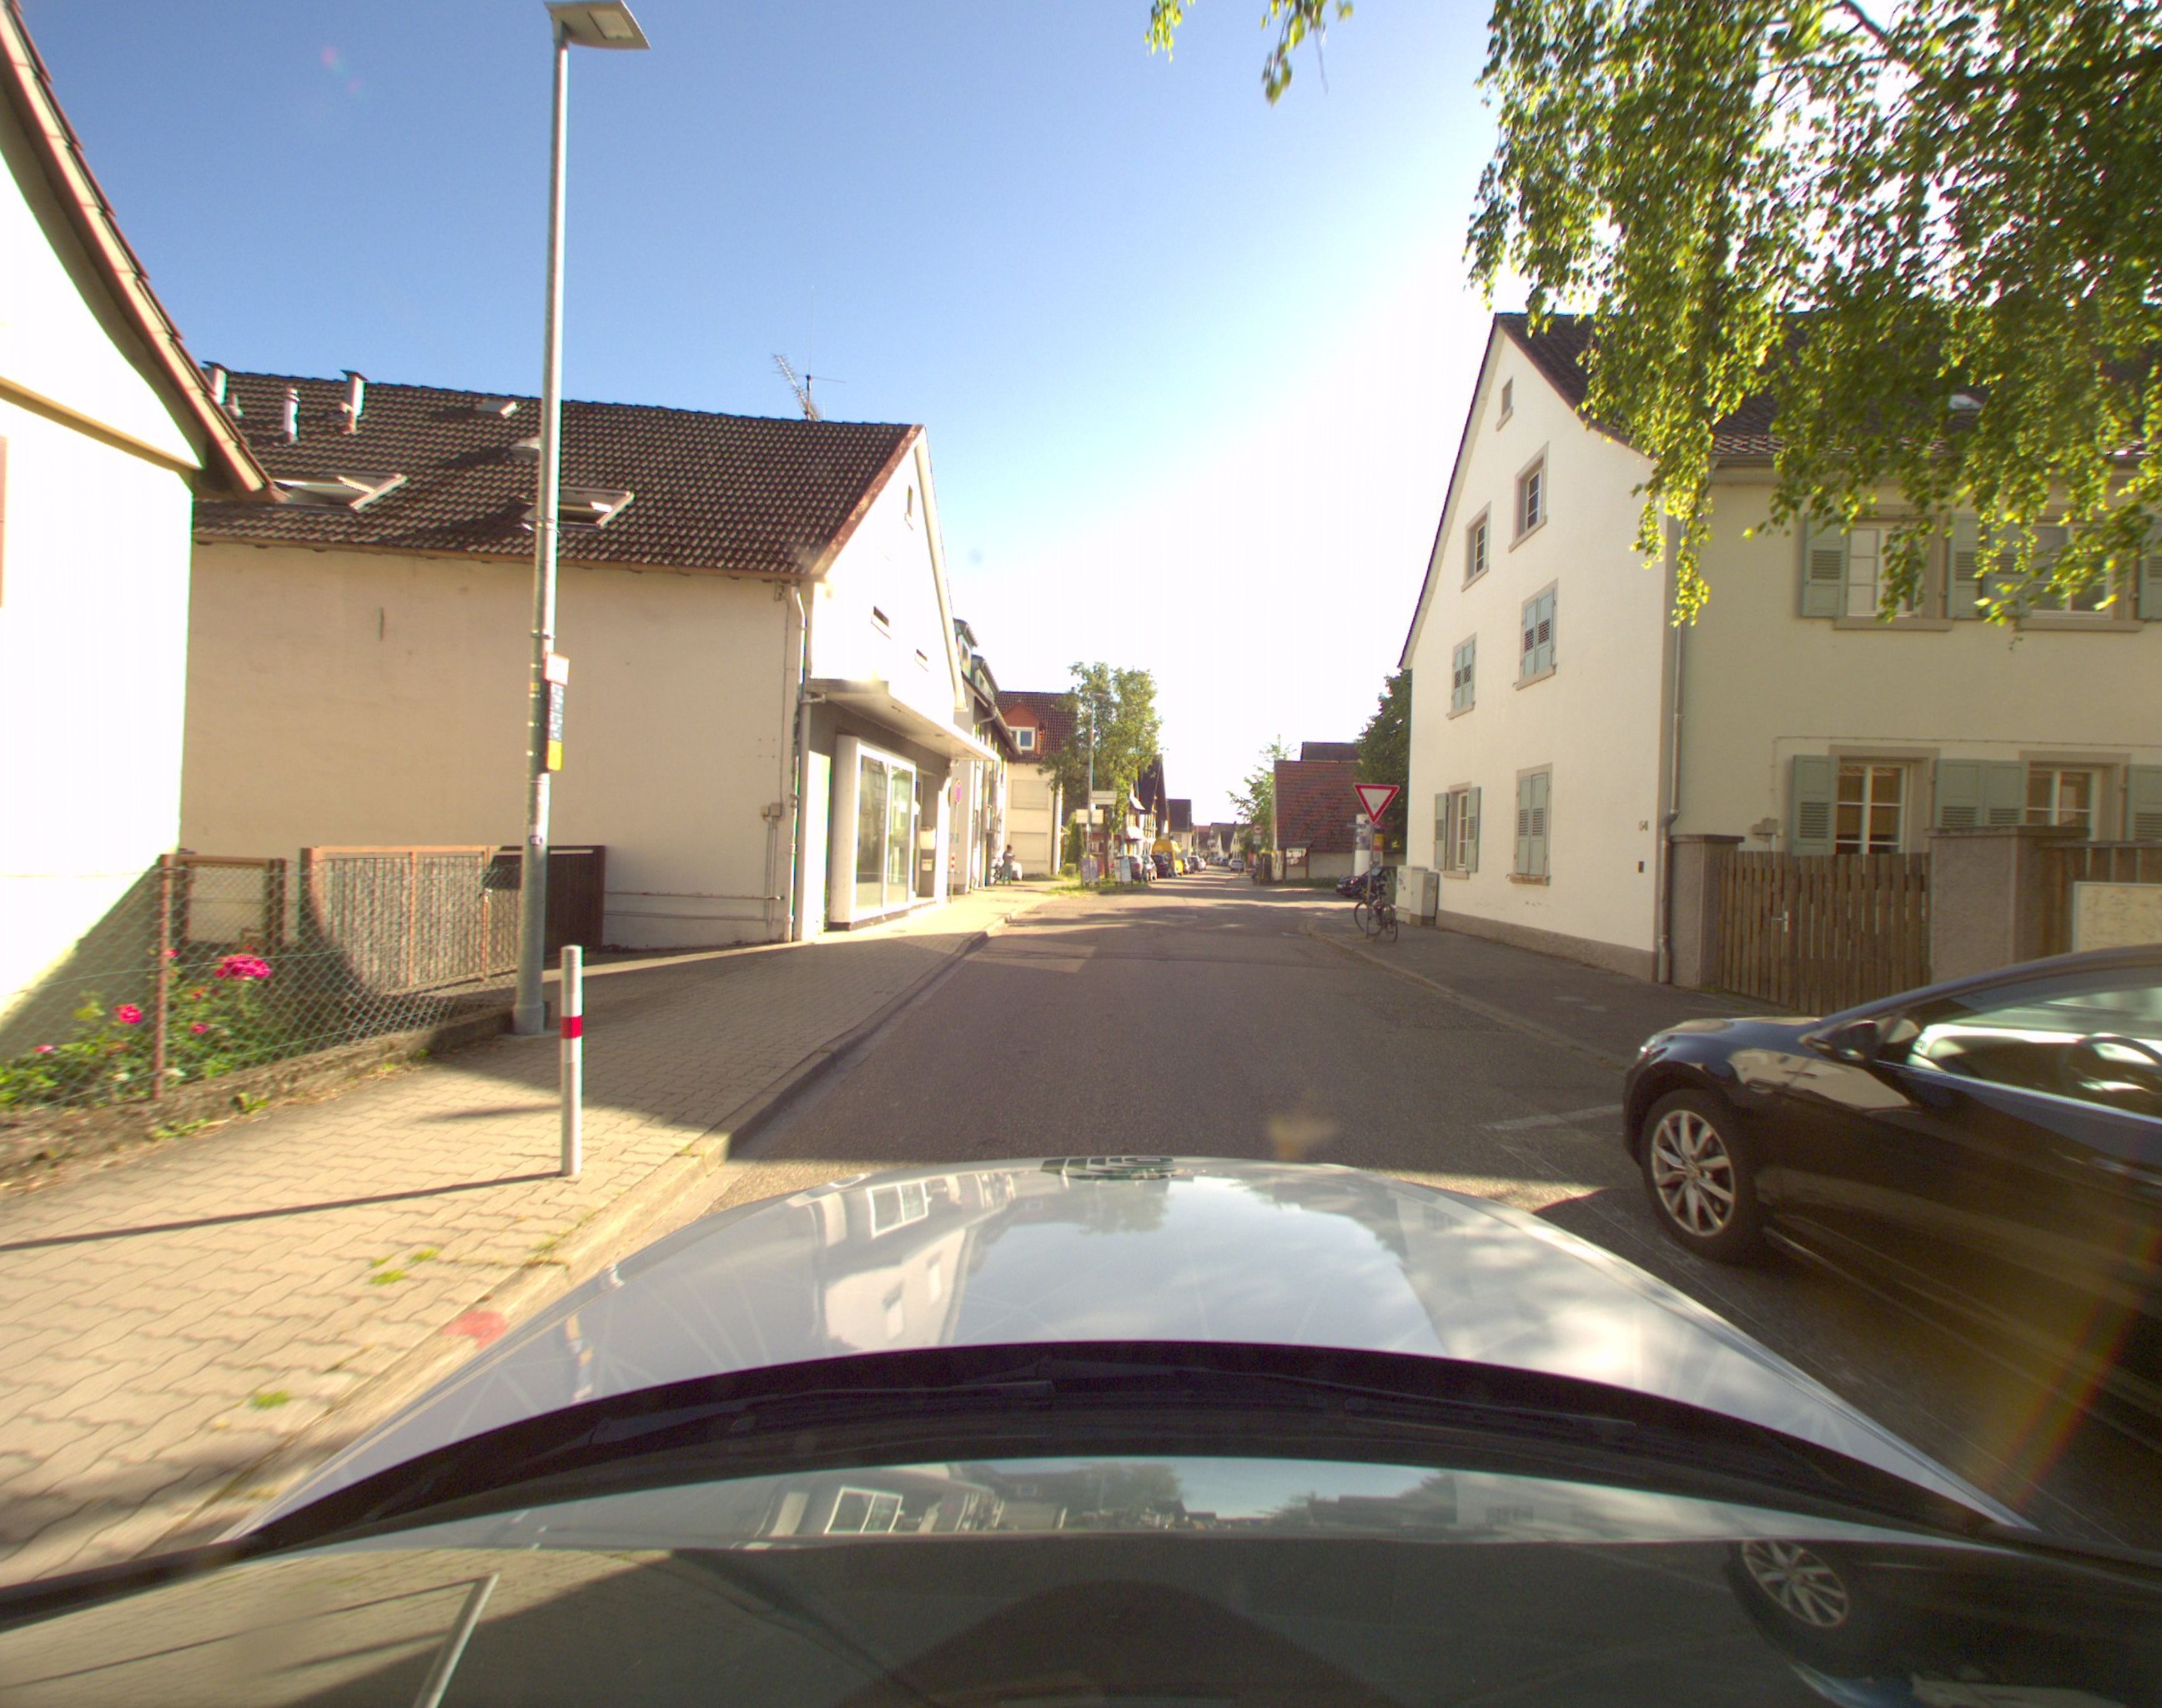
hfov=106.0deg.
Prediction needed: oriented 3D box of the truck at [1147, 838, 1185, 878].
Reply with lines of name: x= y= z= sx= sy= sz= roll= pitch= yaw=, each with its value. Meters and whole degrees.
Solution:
truck: x=6.652 y=0.338 z=62.949 sx=2.253 sy=2.868 sz=5.800 roll=2 pitch=-1 yaw=11

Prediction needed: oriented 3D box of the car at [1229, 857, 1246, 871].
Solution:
car: x=20.776 y=1.315 z=108.249 sx=1.962 sy=1.714 sz=4.004 roll=2 pitch=0 yaw=8

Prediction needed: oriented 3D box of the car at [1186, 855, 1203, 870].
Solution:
car: x=11.856 y=0.921 z=84.871 sx=1.579 sy=1.442 sz=3.623 roll=2 pitch=0 yaw=9

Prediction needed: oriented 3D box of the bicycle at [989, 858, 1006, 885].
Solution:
bicycle: x=-3.344 y=0.703 z=32.749 sx=0.421 sy=1.052 sz=1.382 roll=2 pitch=-1 yaw=3

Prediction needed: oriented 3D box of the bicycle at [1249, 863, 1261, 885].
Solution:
bicycle: x=9.681 y=1.120 z=45.287 sx=0.430 sy=1.176 sz=1.837 roll=2 pitch=0 yaw=19

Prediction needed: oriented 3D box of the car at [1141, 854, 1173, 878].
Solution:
car: x=5.394 y=0.852 z=57.605 sx=1.795 sy=1.622 sz=3.892 roll=2 pitch=-1 yaw=11

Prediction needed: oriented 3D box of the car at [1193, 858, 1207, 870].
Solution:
car: x=14.168 y=1.177 z=96.603 sx=1.579 sy=1.442 sz=3.623 roll=2 pitch=0 yaw=9

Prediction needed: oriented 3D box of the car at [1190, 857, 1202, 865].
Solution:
car: x=24.994 y=1.446 z=176.929 sx=1.968 sy=1.583 sz=3.991 roll=3 pitch=0 yaw=-3

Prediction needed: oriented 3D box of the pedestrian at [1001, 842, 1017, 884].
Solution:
pedestrian: x=-2.900 y=0.371 z=32.897 sx=0.481 sy=1.693 sz=0.558 roll=2 pitch=-2 yaw=6

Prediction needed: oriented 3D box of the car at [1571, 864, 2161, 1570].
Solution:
car: x=3.205 y=0.823 z=1.802 sx=1.800 sy=1.436 sz=4.289 roll=2 pitch=1 yaw=3

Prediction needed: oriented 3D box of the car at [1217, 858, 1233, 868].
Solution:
car: x=26.597 y=1.635 z=150.698 sx=1.968 sy=1.583 sz=3.991 roll=3 pitch=0 yaw=-3

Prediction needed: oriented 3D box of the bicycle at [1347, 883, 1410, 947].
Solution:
bicycle: x=5.617 y=1.122 z=15.473 sx=0.434 sy=1.080 sz=1.889 roll=1 pitch=0 yaw=-2

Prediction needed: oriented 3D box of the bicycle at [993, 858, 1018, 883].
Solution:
bicycle: x=-3.327 y=0.734 z=36.168 sx=0.574 sy=1.052 sz=2.041 roll=2 pitch=-1 yaw=10

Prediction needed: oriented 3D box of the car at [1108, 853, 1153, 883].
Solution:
car: x=2.758 y=0.751 z=44.499 sx=1.855 sy=1.506 sz=4.120 roll=2 pitch=-1 yaw=11

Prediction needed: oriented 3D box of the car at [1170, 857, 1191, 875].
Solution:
car: x=8.785 y=1.063 z=71.877 sx=1.636 sy=1.432 sz=3.623 roll=2 pitch=0 yaw=8

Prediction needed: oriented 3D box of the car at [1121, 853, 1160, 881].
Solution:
car: x=3.621 y=0.786 z=48.820 sx=1.795 sy=1.506 sz=4.120 roll=2 pitch=-1 yaw=11

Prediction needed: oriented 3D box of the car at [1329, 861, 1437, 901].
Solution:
car: x=12.864 y=1.147 z=34.806 sx=3.977 sy=1.477 sz=1.664 roll=3 pitch=0 yaw=-3
